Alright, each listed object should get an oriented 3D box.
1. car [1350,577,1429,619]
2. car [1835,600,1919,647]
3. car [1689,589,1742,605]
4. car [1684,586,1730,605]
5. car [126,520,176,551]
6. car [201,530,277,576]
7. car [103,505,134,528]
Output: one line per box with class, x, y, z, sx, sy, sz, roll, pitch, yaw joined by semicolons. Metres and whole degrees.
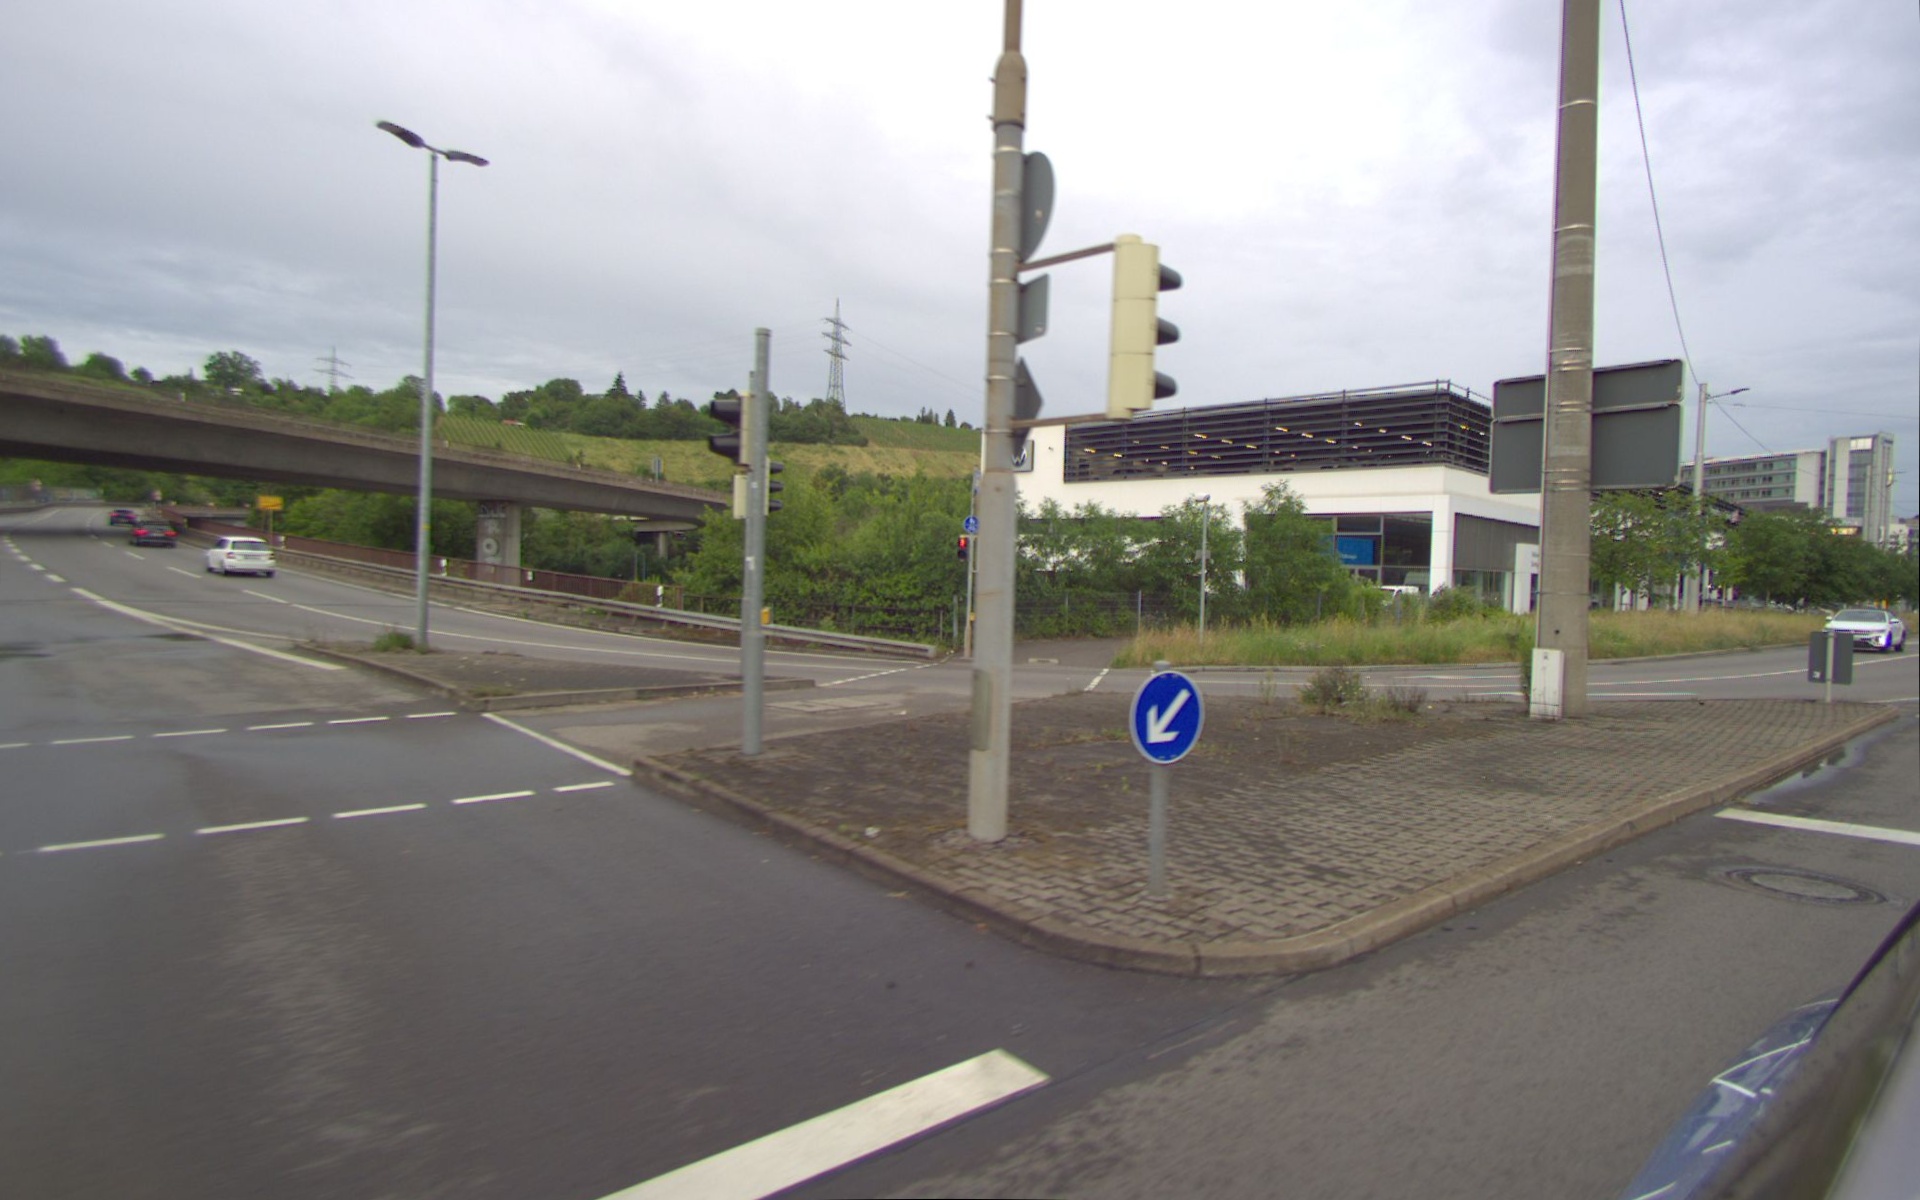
car;22.532;-0.105;52.964;5.007;2.039;2.045;0;1;-44
car;32.225;0.796;35.521;3.771;1.513;1.876;1;1;-43
car;75.738;-0.286;101.512;1.755;1.527;3.993;0;0;-41
car;87.257;-0.560;118.195;1.913;2.000;4.031;0;3;-44
car;-44.385;-3.505;55.471;1.879;1.554;3.993;1;1;-42
car;-27.671;-1.813;38.793;3.663;1.475;1.724;7;4;44
car;-71.700;-7.118;86.237;1.841;1.736;3.993;1;1;-42
